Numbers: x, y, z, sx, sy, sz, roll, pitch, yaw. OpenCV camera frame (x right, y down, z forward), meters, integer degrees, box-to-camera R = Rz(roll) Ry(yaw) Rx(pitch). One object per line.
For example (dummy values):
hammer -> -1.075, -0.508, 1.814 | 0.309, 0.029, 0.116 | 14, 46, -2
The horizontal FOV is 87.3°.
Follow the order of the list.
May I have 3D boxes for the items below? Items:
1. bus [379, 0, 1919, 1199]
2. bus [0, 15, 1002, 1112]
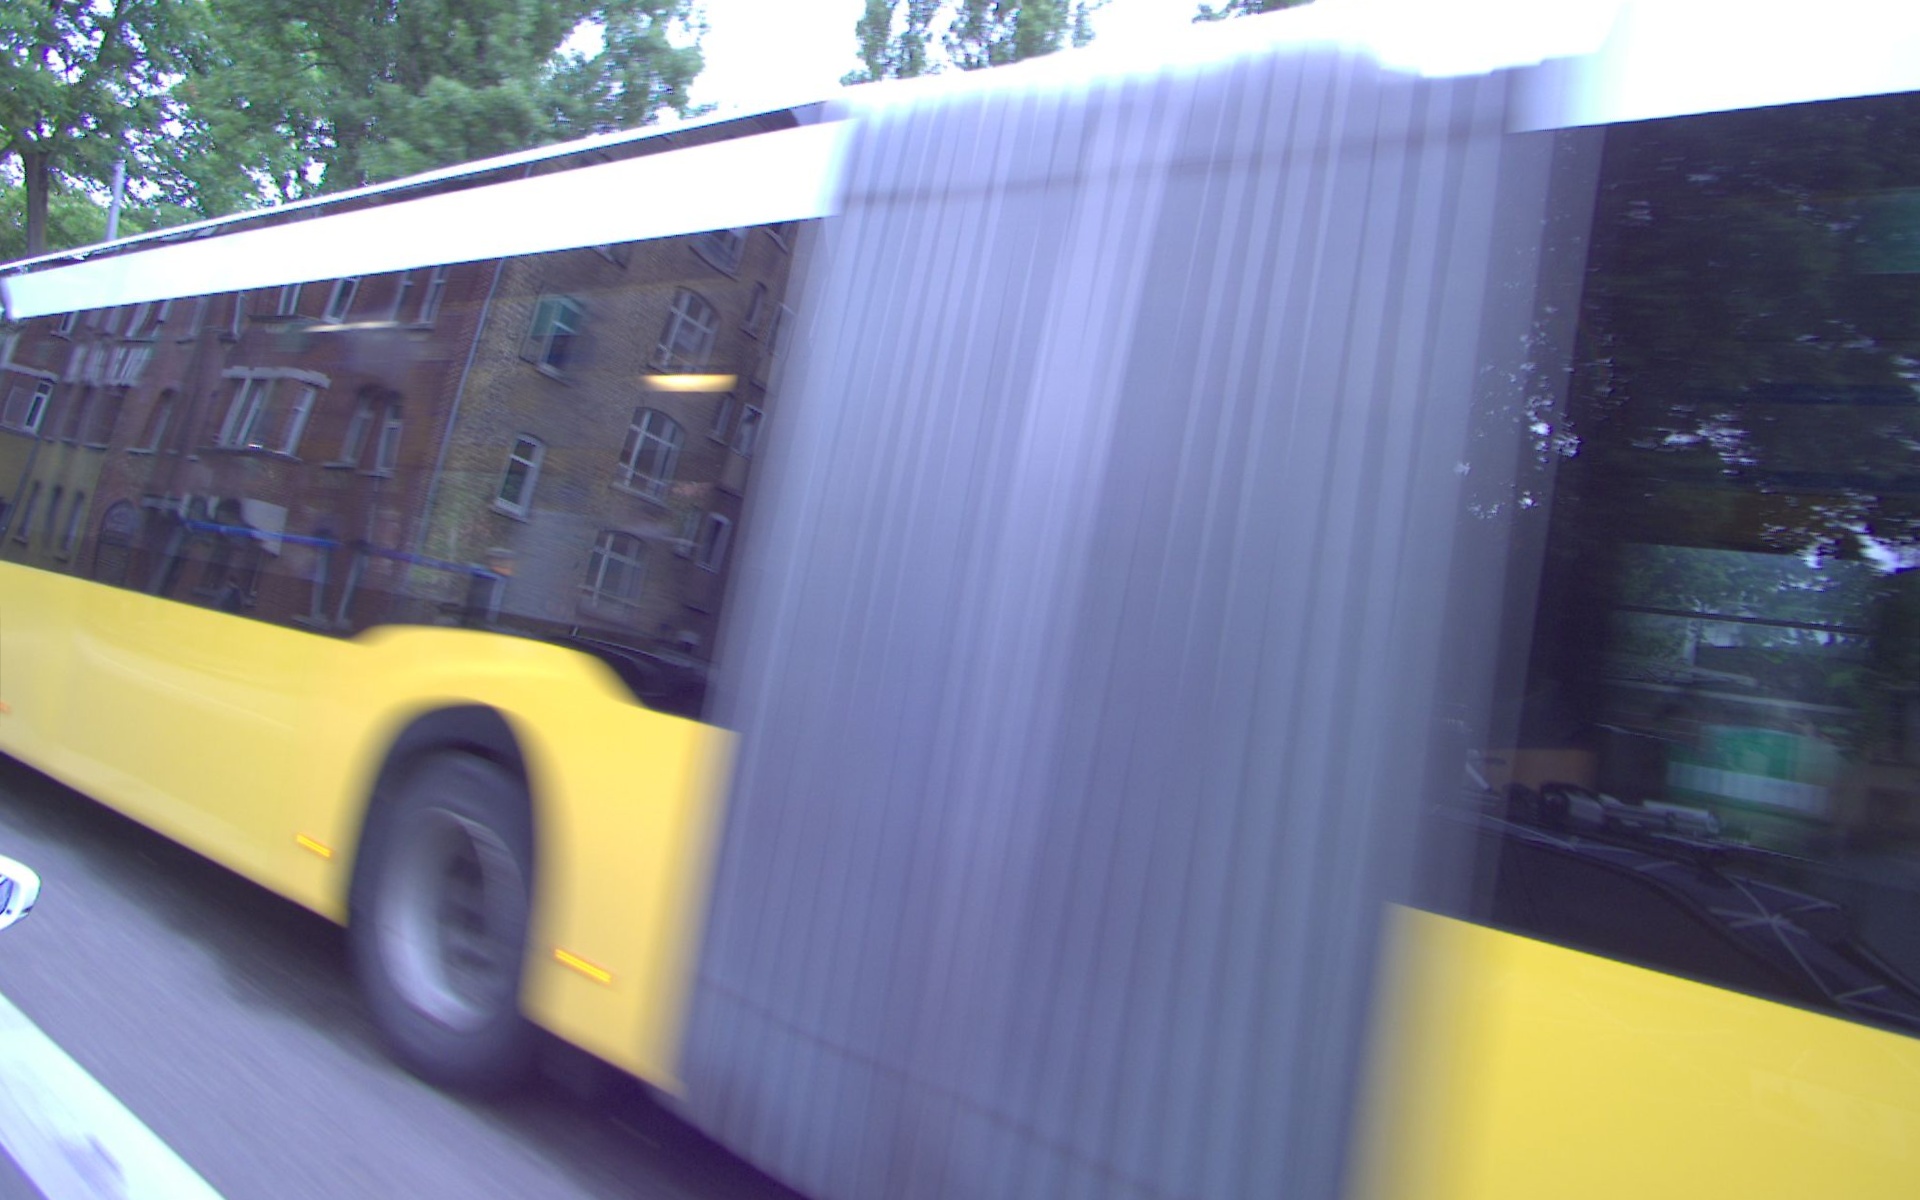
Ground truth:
bus -> 3.457, 0.598, 1.396 | 9.873, 3.169, 2.671 | 7, -4, 32
bus -> -4.519, -0.429, 6.408 | 9.065, 3.171, 2.680 | 7, -4, 32
